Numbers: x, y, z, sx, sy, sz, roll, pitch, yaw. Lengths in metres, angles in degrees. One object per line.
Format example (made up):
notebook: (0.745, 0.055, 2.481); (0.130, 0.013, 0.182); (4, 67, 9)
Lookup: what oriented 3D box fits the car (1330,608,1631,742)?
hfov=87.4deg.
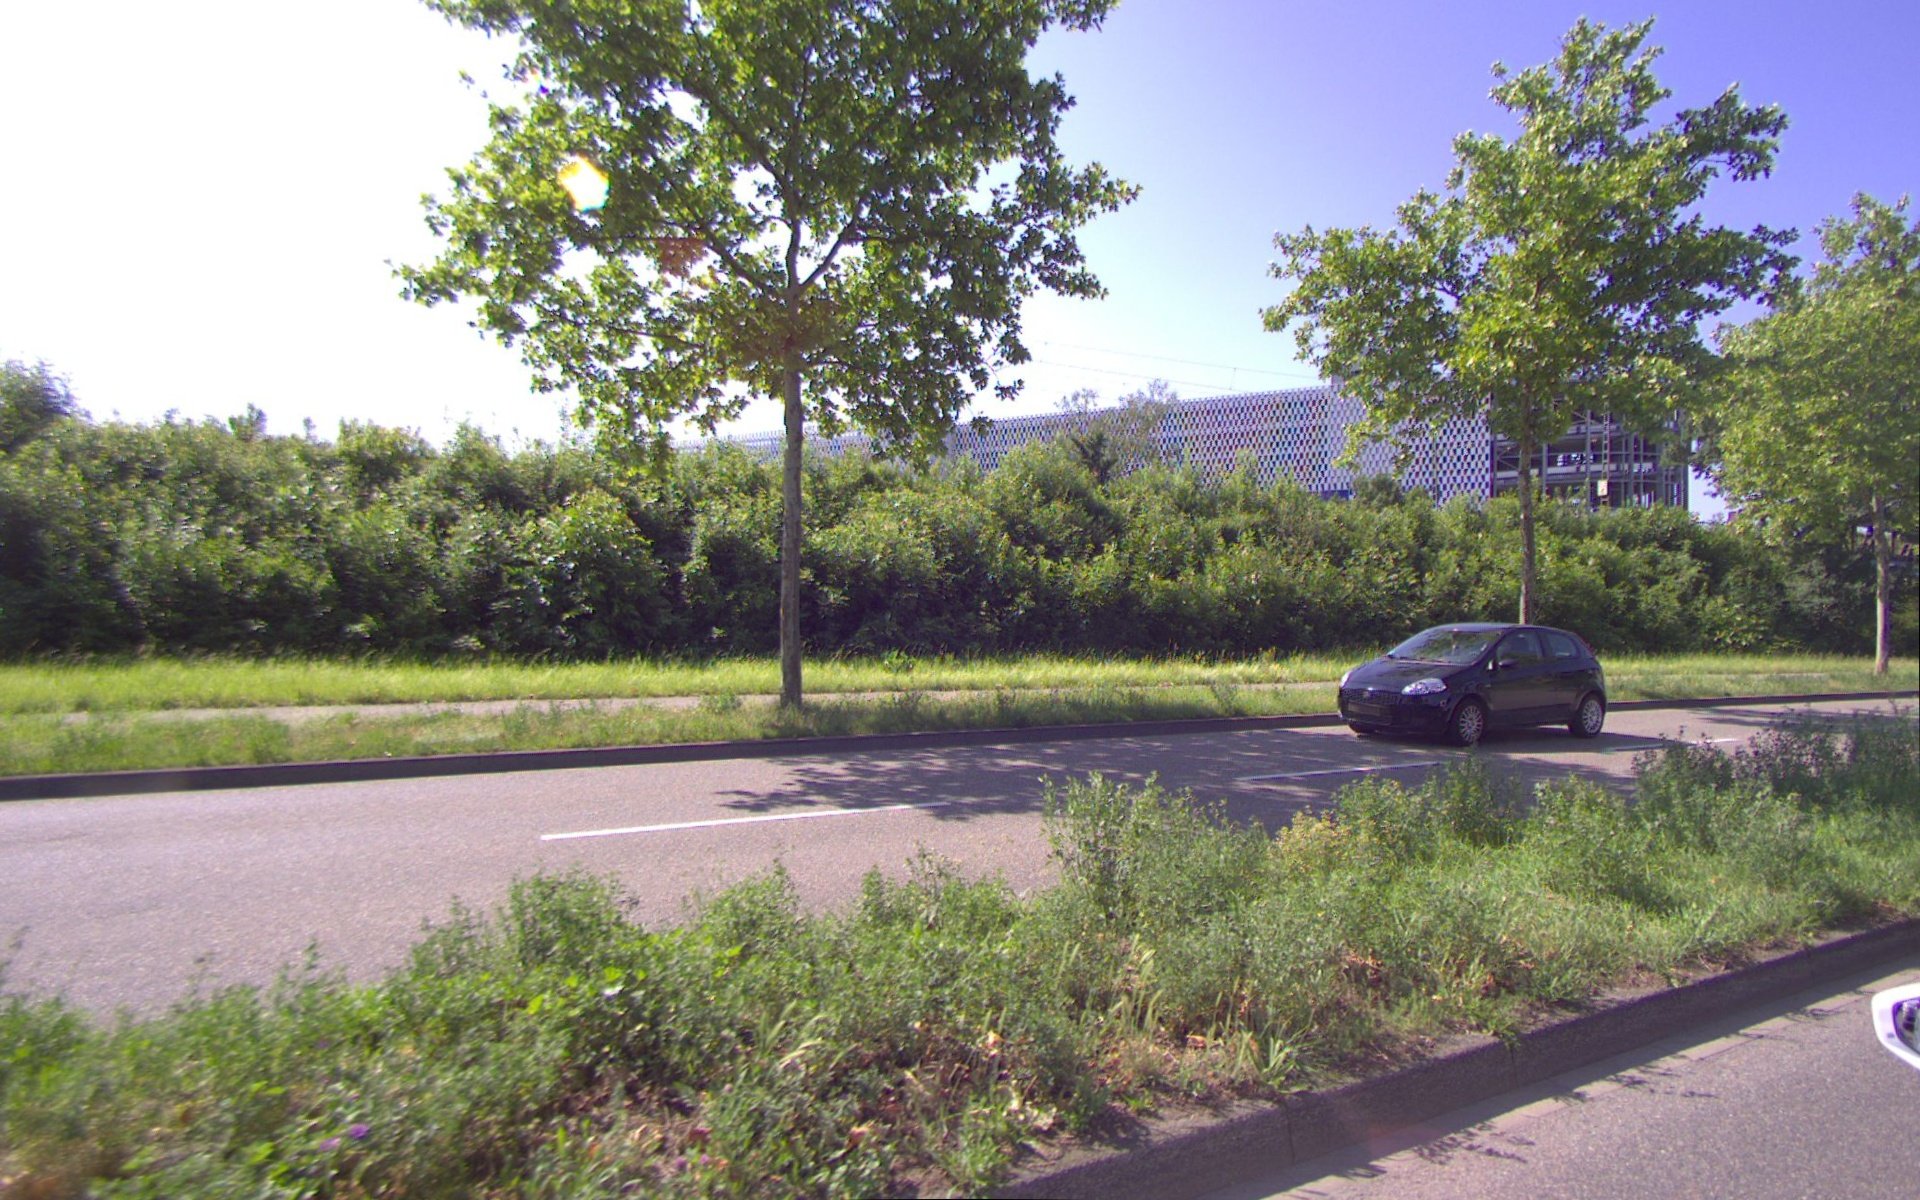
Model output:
car: (6.778, 0.911, 13.016); (3.879, 1.489, 1.563); (2, 0, -29)
